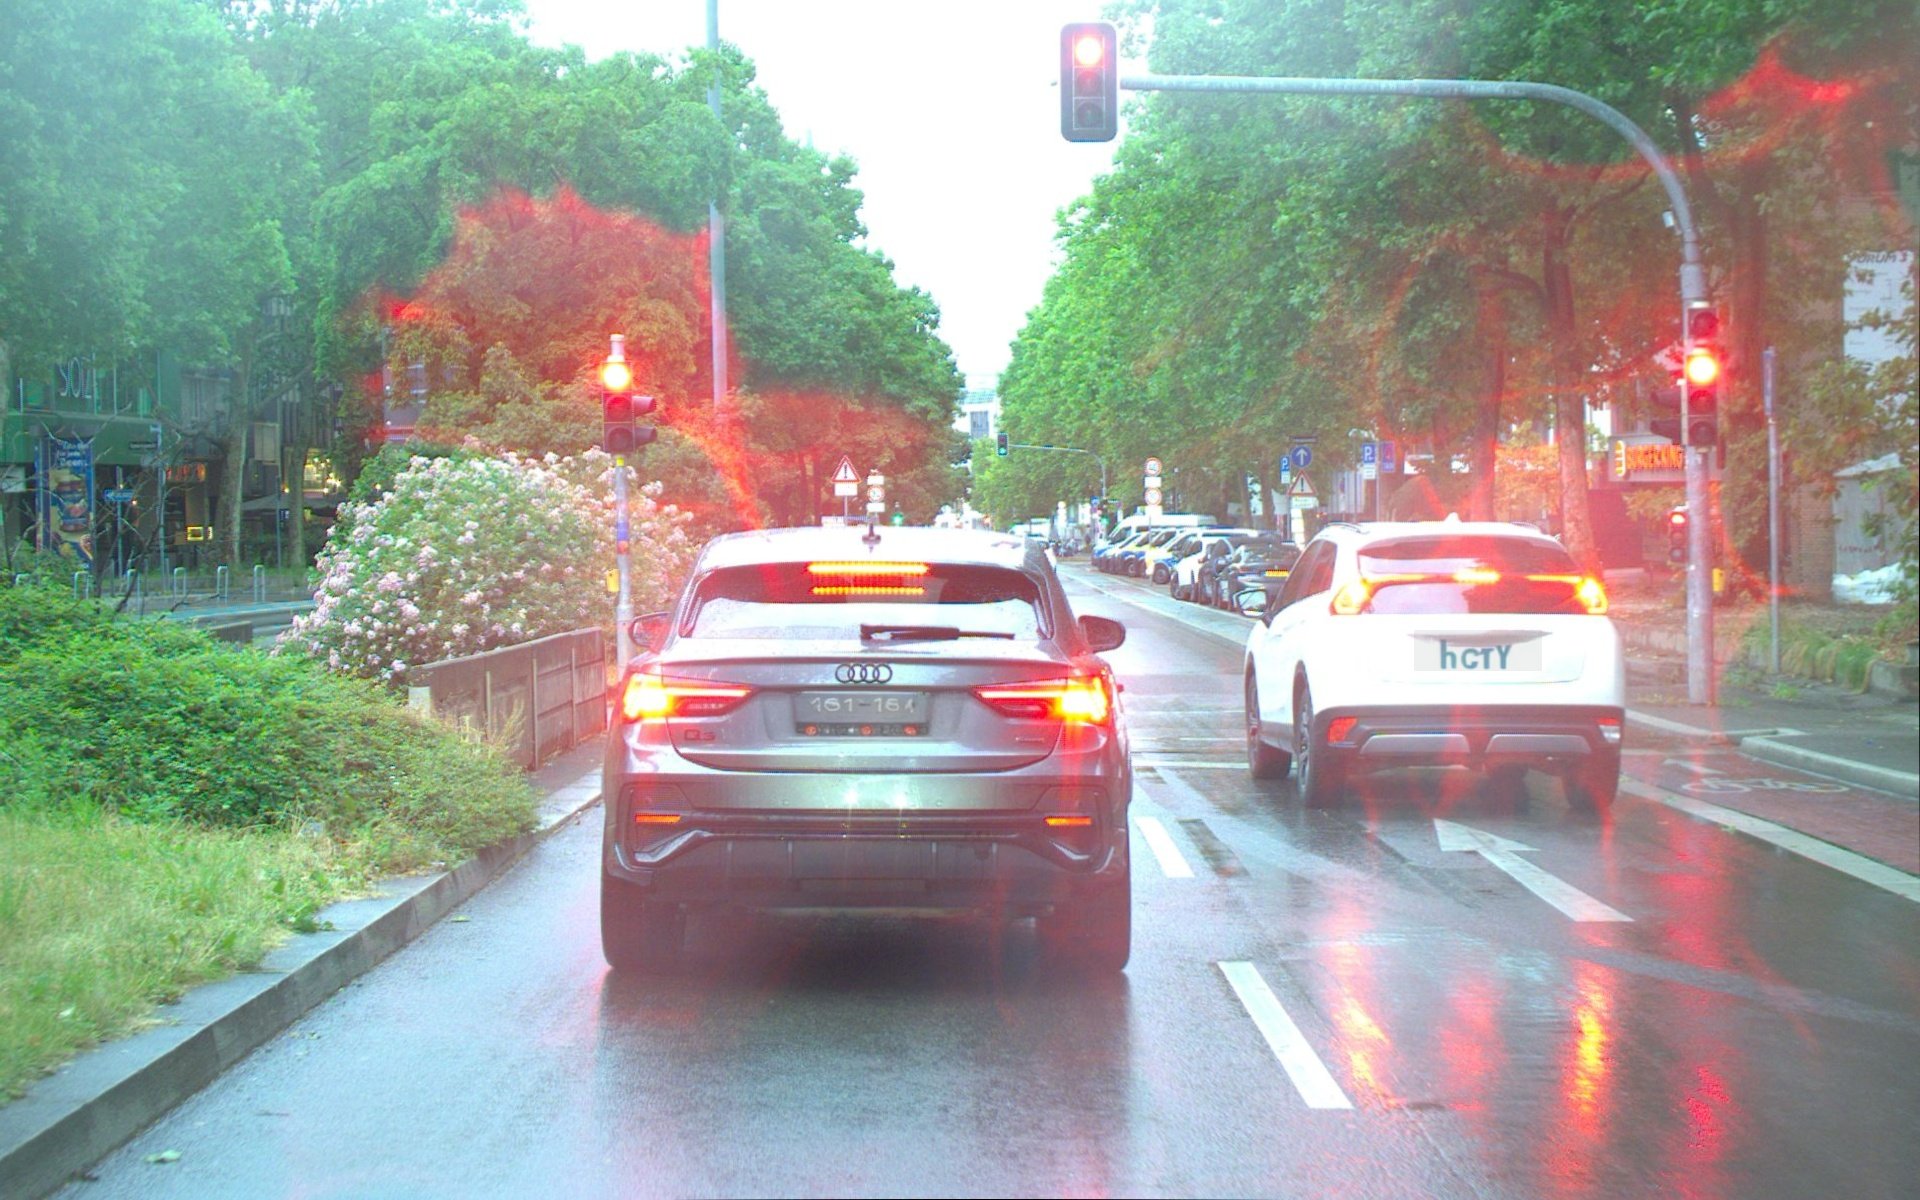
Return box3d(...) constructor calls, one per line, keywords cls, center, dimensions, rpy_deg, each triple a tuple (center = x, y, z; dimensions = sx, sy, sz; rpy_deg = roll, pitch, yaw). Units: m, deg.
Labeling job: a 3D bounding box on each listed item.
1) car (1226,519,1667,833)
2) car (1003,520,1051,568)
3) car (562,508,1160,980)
box3d(cls="car", center=(2.829, 0.356, 21.109), dimensions=(1.993, 1.649, 4.889), rpy_deg=(0, 2, 0))
box3d(cls="car", center=(2.410, -2.033, 124.161), dimensions=(1.620, 1.660, 4.000), rpy_deg=(-1, 2, 0))
box3d(cls="car", center=(-0.326, 0.413, 13.069), dimensions=(1.918, 1.486, 4.000), rpy_deg=(0, 2, 0))
